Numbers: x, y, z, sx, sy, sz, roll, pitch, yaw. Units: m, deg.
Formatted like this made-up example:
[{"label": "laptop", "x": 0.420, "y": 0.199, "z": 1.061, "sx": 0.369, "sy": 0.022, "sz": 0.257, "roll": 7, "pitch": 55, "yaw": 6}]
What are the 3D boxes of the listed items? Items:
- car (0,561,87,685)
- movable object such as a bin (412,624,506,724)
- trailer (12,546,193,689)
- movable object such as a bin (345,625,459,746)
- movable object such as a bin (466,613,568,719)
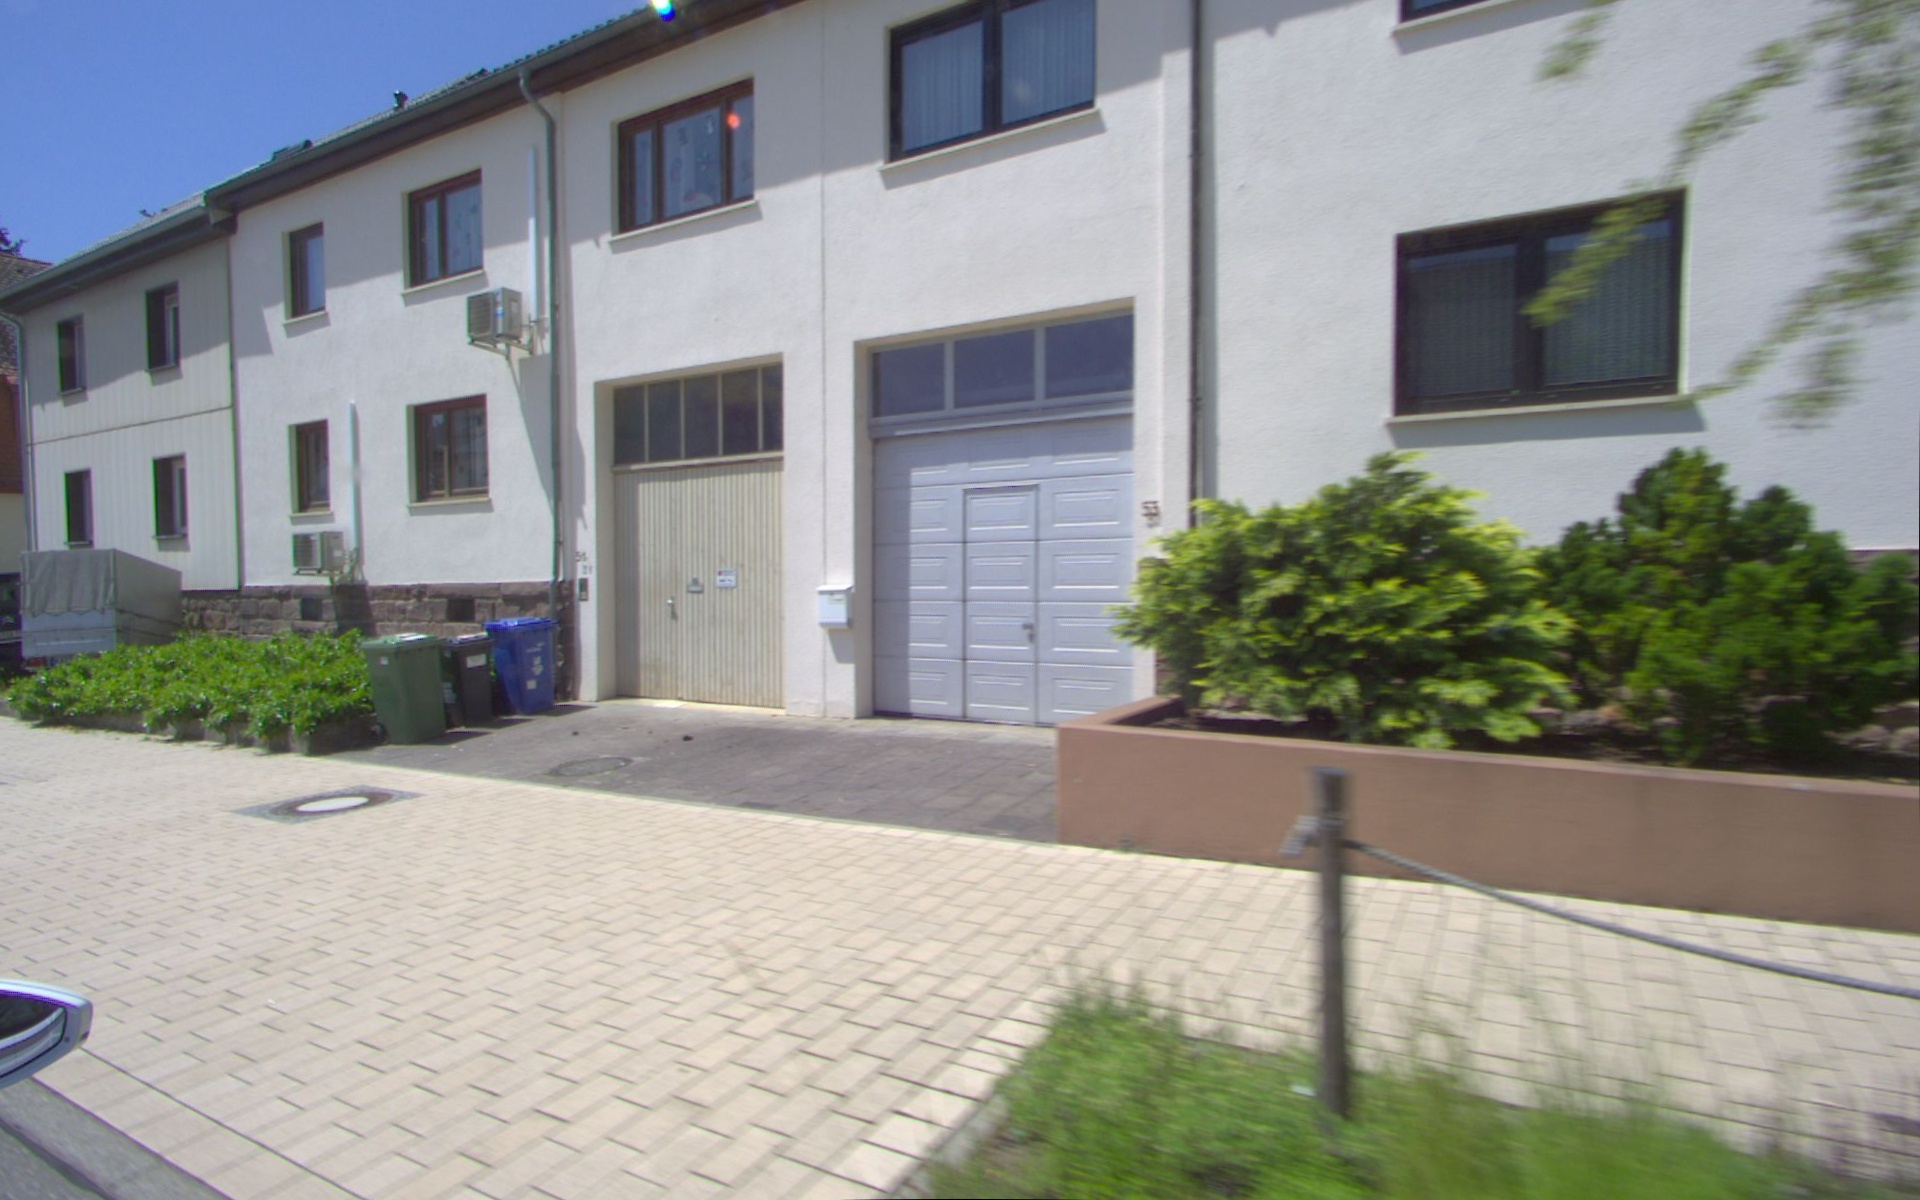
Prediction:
[{"label": "car", "x": -17.586, "y": 0.422, "z": 17.697, "sx": 4.705, "sy": 1.998, "sz": 1.847, "roll": -1, "pitch": 4, "yaw": 32}, {"label": "movable object such as a bin", "x": -5.451, "y": 0.784, "z": 10.900, "sx": 0.793, "sy": 1.000, "sz": 0.555, "roll": -1, "pitch": 4, "yaw": 38}, {"label": "trailer", "x": -13.216, "y": 0.282, "z": 15.566, "sx": 1.301, "sy": 2.039, "sz": 2.270, "roll": 0, "pitch": -1, "yaw": -16}, {"label": "movable object such as a bin", "x": -5.711, "y": 0.850, "z": 10.258, "sx": 0.802, "sy": 1.130, "sz": 0.681, "roll": -1, "pitch": 3, "yaw": 37}, {"label": "movable object such as a bin", "x": -5.068, "y": 0.731, "z": 11.466, "sx": 0.852, "sy": 1.122, "sz": 0.682, "roll": -1, "pitch": 3, "yaw": 38}]
